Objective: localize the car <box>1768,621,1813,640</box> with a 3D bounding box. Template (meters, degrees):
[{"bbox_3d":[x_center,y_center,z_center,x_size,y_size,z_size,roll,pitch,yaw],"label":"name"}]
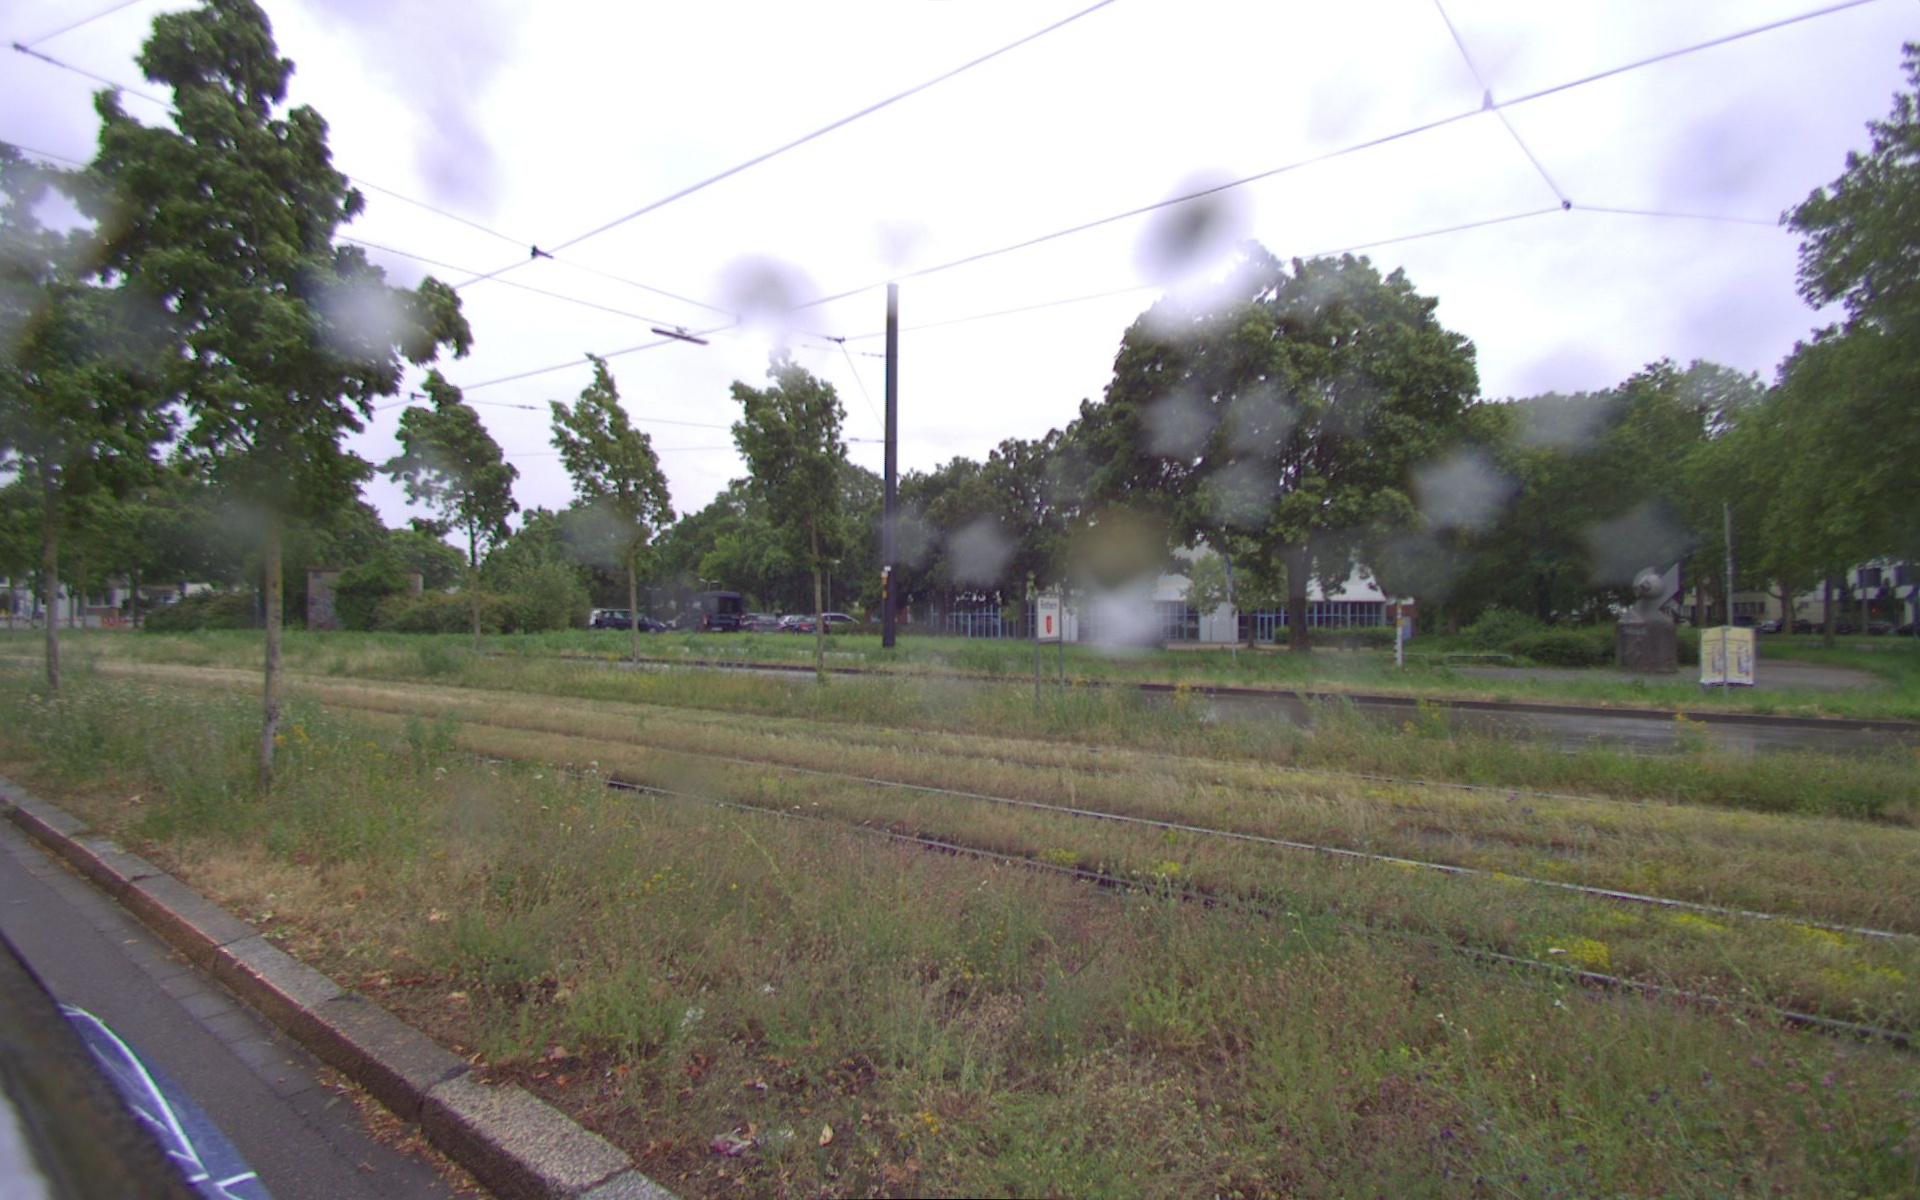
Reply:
[{"bbox_3d":[82.976,3.038,101.161,1.982,1.796,3.979,-1,0,16],"label":"car"}]

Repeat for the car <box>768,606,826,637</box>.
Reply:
[{"bbox_3d":[-8.817,1.109,54.348,2.026,1.584,5.032,-1,0,-21],"label":"car"}]

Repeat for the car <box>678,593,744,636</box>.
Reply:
[{"bbox_3d":[-12.833,0.714,51.940,2.273,2.029,5.134,-1,0,-25],"label":"car"}]

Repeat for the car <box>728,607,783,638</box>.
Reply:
[{"bbox_3d":[-10.915,1.162,53.713,1.726,1.542,4.865,-1,0,-25],"label":"car"}]

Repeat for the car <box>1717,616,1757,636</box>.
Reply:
[{"bbox_3d":[86.343,2.847,112.532,2.108,2.104,3.982,-1,0,14],"label":"car"}]

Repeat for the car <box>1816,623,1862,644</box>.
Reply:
[{"bbox_3d":[81.656,3.116,94.063,1.986,1.796,3.972,-1,0,21],"label":"car"}]

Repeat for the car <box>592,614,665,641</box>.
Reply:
[{"bbox_3d":[-20.297,1.658,61.901,4.110,1.494,1.789,-1,0,-23],"label":"car"}]
